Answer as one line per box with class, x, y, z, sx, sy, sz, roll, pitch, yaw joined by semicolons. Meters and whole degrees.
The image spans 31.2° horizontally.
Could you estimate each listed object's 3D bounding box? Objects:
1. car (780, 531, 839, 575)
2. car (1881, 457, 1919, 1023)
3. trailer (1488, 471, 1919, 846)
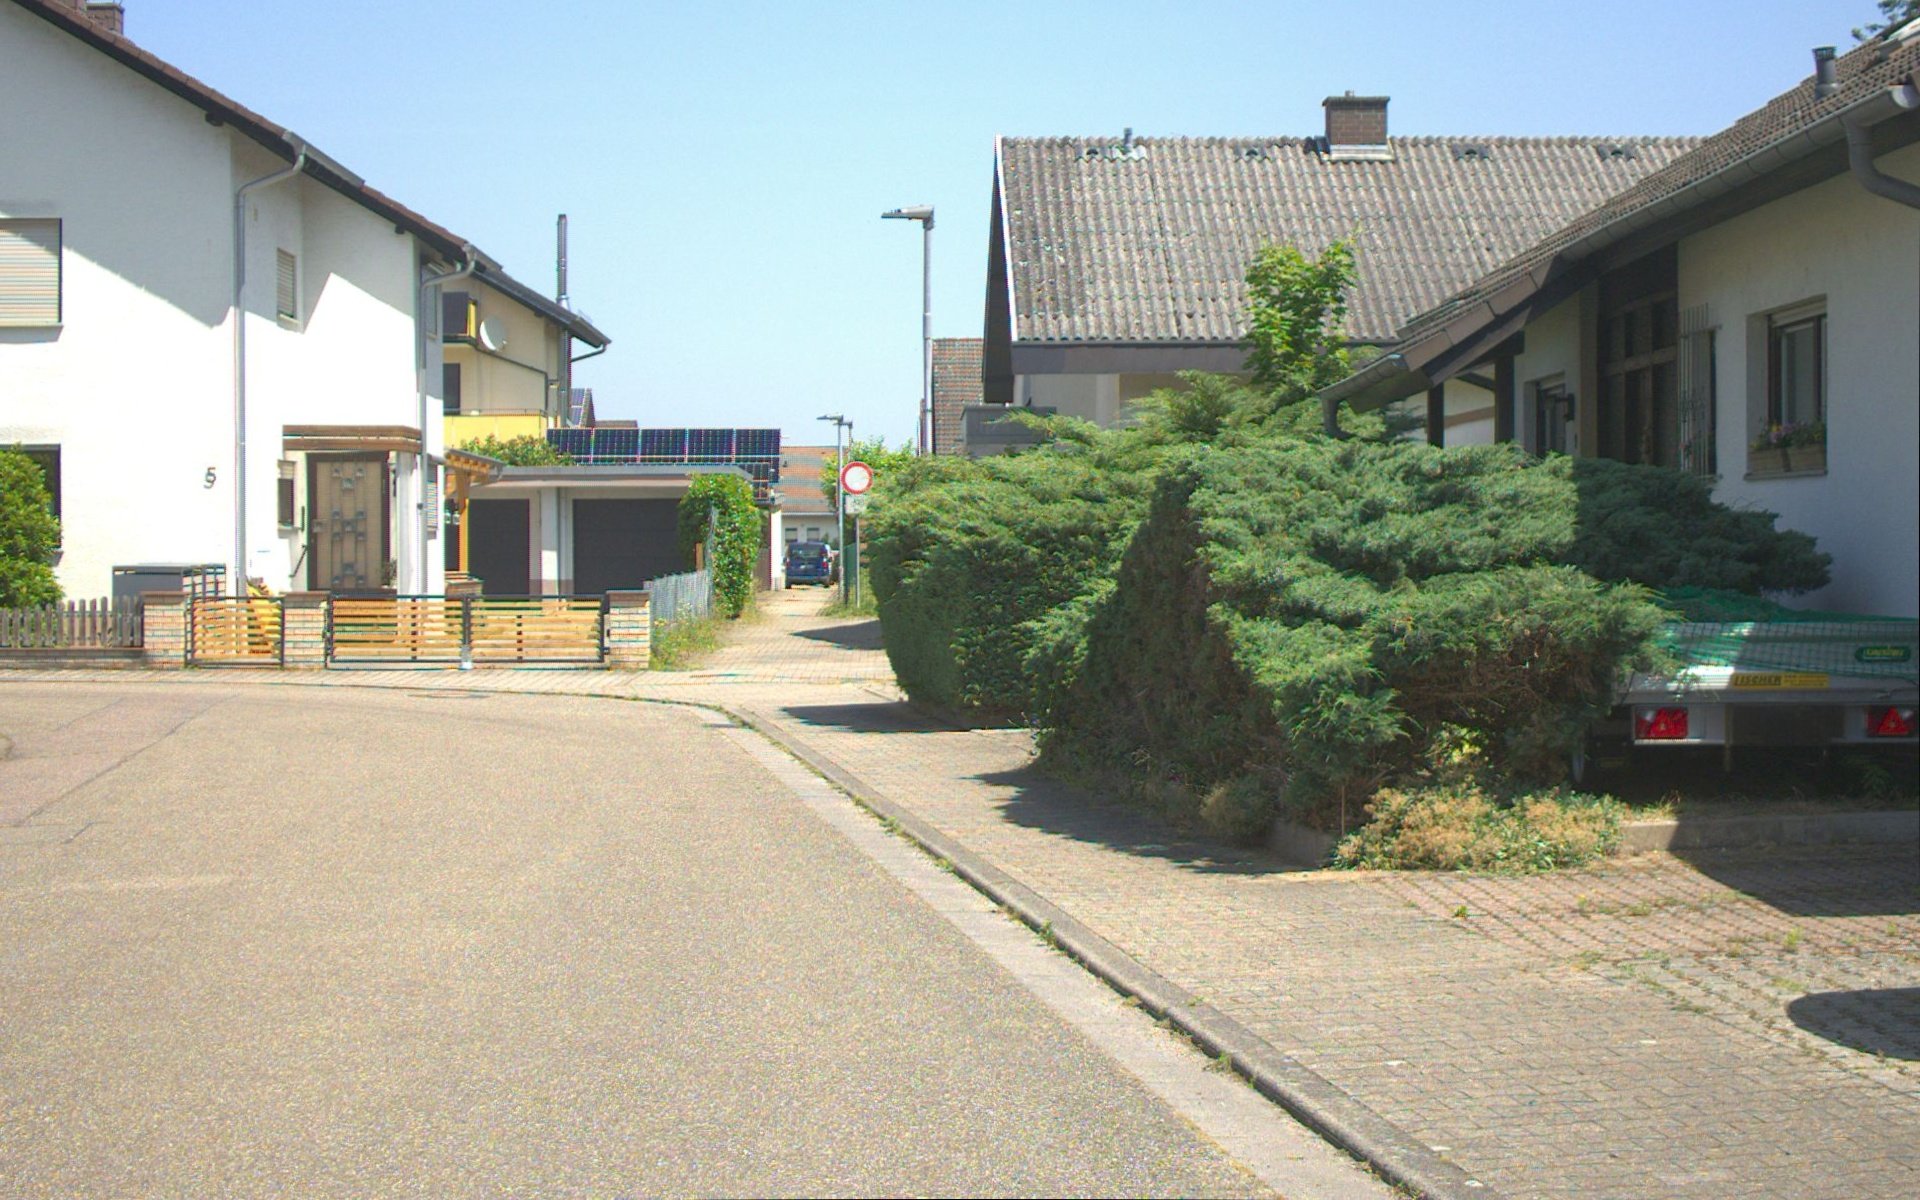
car;-5.916;-1.869;135.249;2.193;1.695;3.807;0;1;-1
car;5.153;0.365;9.690;4.627;1.696;1.709;-2;1;2
trailer;3.742;0.217;17.284;1.587;1.666;3.297;-2;2;-1
